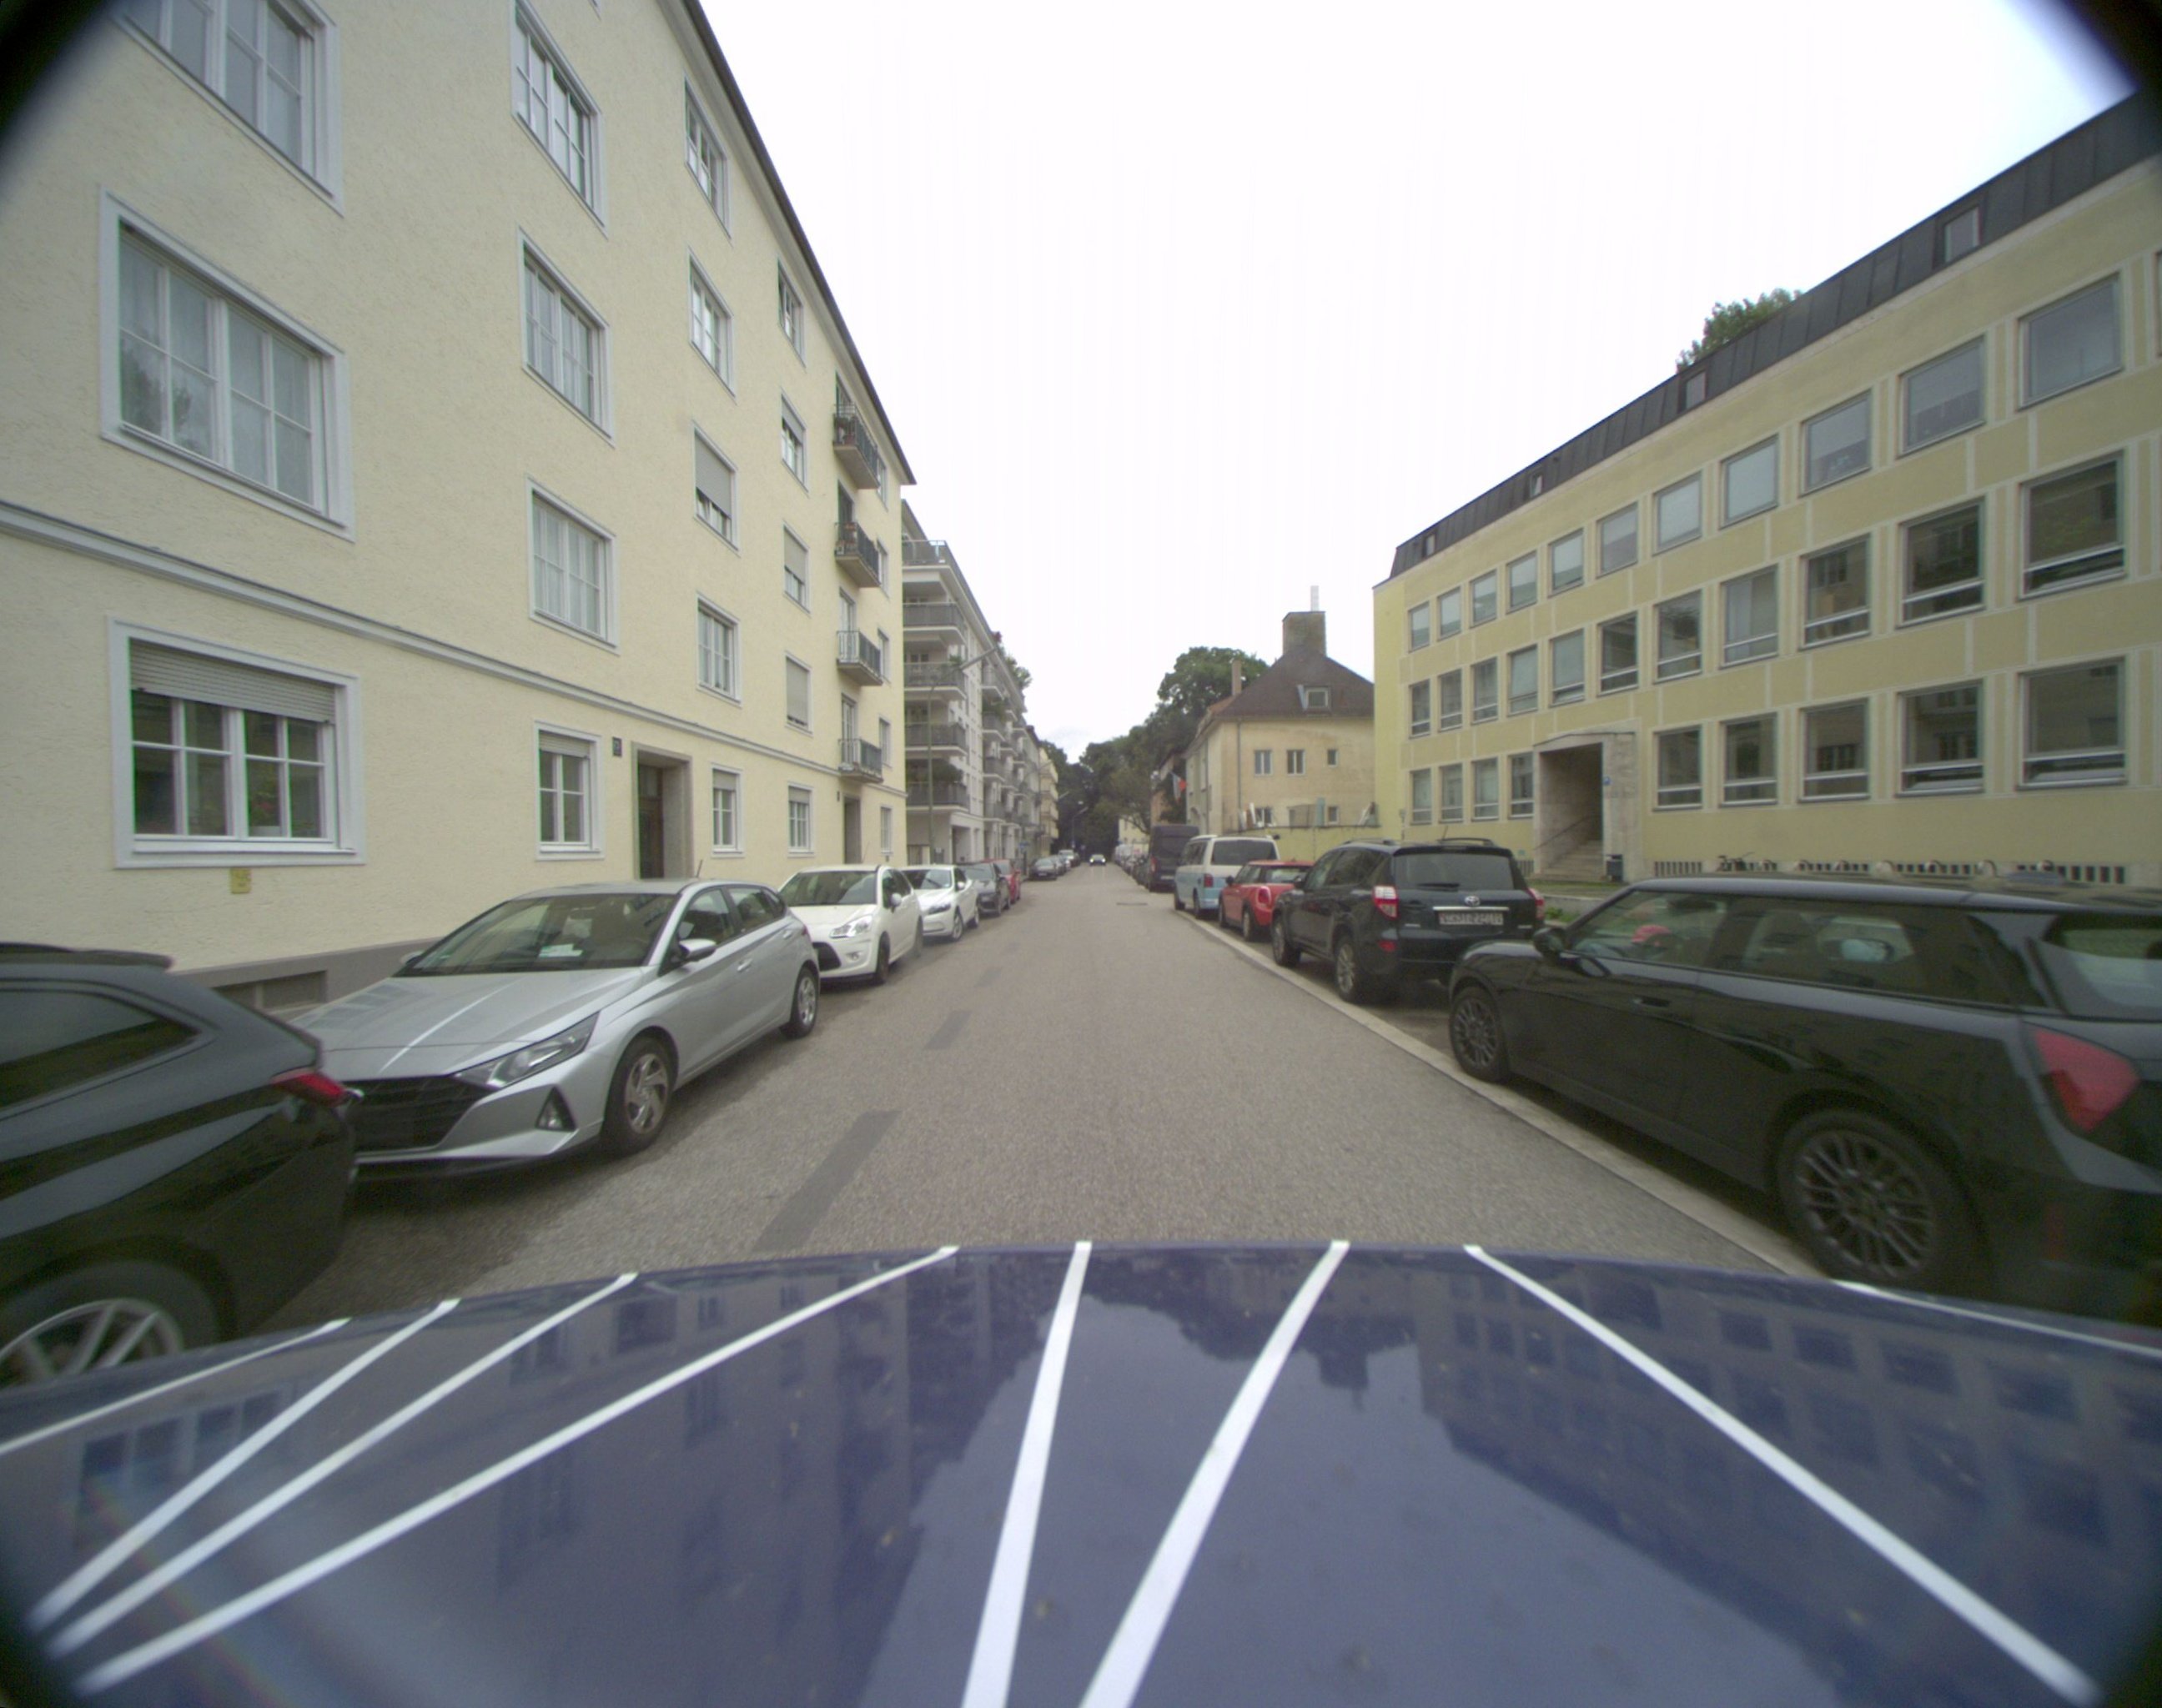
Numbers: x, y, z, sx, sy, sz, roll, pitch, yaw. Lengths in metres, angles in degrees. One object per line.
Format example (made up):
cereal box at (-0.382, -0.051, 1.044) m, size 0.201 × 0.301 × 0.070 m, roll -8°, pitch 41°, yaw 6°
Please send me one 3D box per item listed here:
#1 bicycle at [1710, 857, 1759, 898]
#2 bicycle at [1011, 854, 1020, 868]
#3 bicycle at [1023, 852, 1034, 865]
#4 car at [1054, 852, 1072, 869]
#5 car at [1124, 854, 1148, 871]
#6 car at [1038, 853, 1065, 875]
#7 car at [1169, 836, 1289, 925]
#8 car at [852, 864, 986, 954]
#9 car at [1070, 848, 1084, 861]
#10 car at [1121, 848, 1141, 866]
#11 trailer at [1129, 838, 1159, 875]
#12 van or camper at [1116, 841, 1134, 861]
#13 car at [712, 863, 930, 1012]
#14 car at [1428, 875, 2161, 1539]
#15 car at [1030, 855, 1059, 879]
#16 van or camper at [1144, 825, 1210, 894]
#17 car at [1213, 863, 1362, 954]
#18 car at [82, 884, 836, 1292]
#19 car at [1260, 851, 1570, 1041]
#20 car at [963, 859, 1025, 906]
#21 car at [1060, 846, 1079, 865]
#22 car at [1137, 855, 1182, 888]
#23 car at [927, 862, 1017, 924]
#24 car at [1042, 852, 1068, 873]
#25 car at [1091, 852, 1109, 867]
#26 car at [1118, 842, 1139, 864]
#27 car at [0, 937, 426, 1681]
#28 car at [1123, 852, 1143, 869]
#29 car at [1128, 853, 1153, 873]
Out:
bicycle at (16.184, 0.567, 18.799) m, size 1.413 × 0.939 × 0.413 m, roll -3°, pitch 1°, yaw -28°
bicycle at (-5.463, 0.581, 63.423) m, size 0.570 × 1.092 × 1.810 m, roll 2°, pitch 1°, yaw 2°
bicycle at (-4.965, 0.405, 72.036) m, size 0.803 × 1.165 × 1.973 m, roll -2°, pitch 0°, yaw 2°
car at (-1.674, 0.577, 71.407) m, size 1.668 × 1.459 × 4.374 m, roll -1°, pitch 1°, yaw -1°
car at (4.666, 0.699, 65.117) m, size 1.750 × 1.360 × 4.402 m, roll 0°, pitch 0°, yaw 1°
car at (-2.087, 0.714, 54.462) m, size 1.621 × 1.458 × 3.746 m, roll -2°, pitch 0°, yaw 1°
car at (3.534, 0.594, 19.171) m, size 1.920 × 1.948 × 4.960 m, roll 1°, pitch 0°, yaw -2°
car at (-3.045, 0.966, 15.170) m, size 1.729 × 1.421 × 4.293 m, roll -2°, pitch 0°, yaw 0°
car at (-0.568, 0.084, 103.201) m, size 1.771 × 1.607 × 4.263 m, roll -1°, pitch 0°, yaw 1°
car at (5.028, 0.317, 76.720) m, size 1.719 × 1.746 × 4.250 m, roll 0°, pitch 0°, yaw 1°
trailer at (4.512, 0.161, 54.550) m, size 1.980 × 2.457 × 4.577 m, roll 2°, pitch 1°, yaw 5°
van or camper at (5.971, -0.408, 103.449) m, size 2.116 × 2.646 × 4.958 m, roll 0°, pitch 0°, yaw 1°
car at (-3.265, 0.949, 10.387) m, size 1.655 × 1.535 × 3.992 m, roll -2°, pitch 0°, yaw -2°
car at (3.388, 0.912, 3.743) m, size 1.635 × 1.486 × 3.819 m, roll 0°, pitch 0°, yaw 0°
car at (-2.327, 0.833, 49.553) m, size 1.776 × 1.467 × 4.217 m, roll -1°, pitch 0°, yaw -1°
van or camper at (3.938, 0.190, 32.132) m, size 2.298 × 2.635 × 5.561 m, roll 1°, pitch 0°, yaw 2°
car at (3.720, 0.920, 14.363) m, size 1.809 × 1.398 × 3.709 m, roll 1°, pitch 0°, yaw 0°
car at (-3.218, 1.042, 5.217) m, size 1.729 × 1.441 × 4.187 m, roll -2°, pitch 0°, yaw -1°
car at (3.450, 0.810, 8.804) m, size 1.719 × 1.679 × 4.140 m, roll 0°, pitch 0°, yaw -1°
car at (-2.889, 0.916, 26.005) m, size 1.659 × 1.421 × 3.755 m, roll -2°, pitch 0°, yaw 0°
car at (-1.278, 0.200, 86.224) m, size 1.858 × 2.019 × 4.783 m, roll -2°, pitch 0°, yaw 1°
car at (3.801, 0.829, 37.396) m, size 1.657 × 1.488 × 3.907 m, roll 1°, pitch 0°, yaw -2°
car at (-2.872, 0.984, 21.028) m, size 1.777 × 1.421 × 4.615 m, roll -2°, pitch 0°, yaw 0°
car at (-2.003, 0.639, 59.442) m, size 1.796 × 1.473 × 4.602 m, roll -2°, pitch 1°, yaw 0°
car at (2.188, 0.625, 87.177) m, size 1.998 × 1.521 × 4.000 m, roll -2°, pitch 0°, yaw 1°
car at (5.438, -0.118, 87.020) m, size 2.117 × 2.461 × 5.231 m, roll 0°, pitch 0°, yaw 1°
car at (-3.220, 1.042, 0.264) m, size 1.880 × 1.441 × 4.677 m, roll -2°, pitch 0°, yaw 0°
car at (4.778, 0.577, 70.369) m, size 1.630 × 1.459 × 3.520 m, roll 0°, pitch 1°, yaw 1°
car at (4.631, 0.664, 59.411) m, size 1.683 × 1.521 × 4.107 m, roll 0°, pitch 0°, yaw 1°
